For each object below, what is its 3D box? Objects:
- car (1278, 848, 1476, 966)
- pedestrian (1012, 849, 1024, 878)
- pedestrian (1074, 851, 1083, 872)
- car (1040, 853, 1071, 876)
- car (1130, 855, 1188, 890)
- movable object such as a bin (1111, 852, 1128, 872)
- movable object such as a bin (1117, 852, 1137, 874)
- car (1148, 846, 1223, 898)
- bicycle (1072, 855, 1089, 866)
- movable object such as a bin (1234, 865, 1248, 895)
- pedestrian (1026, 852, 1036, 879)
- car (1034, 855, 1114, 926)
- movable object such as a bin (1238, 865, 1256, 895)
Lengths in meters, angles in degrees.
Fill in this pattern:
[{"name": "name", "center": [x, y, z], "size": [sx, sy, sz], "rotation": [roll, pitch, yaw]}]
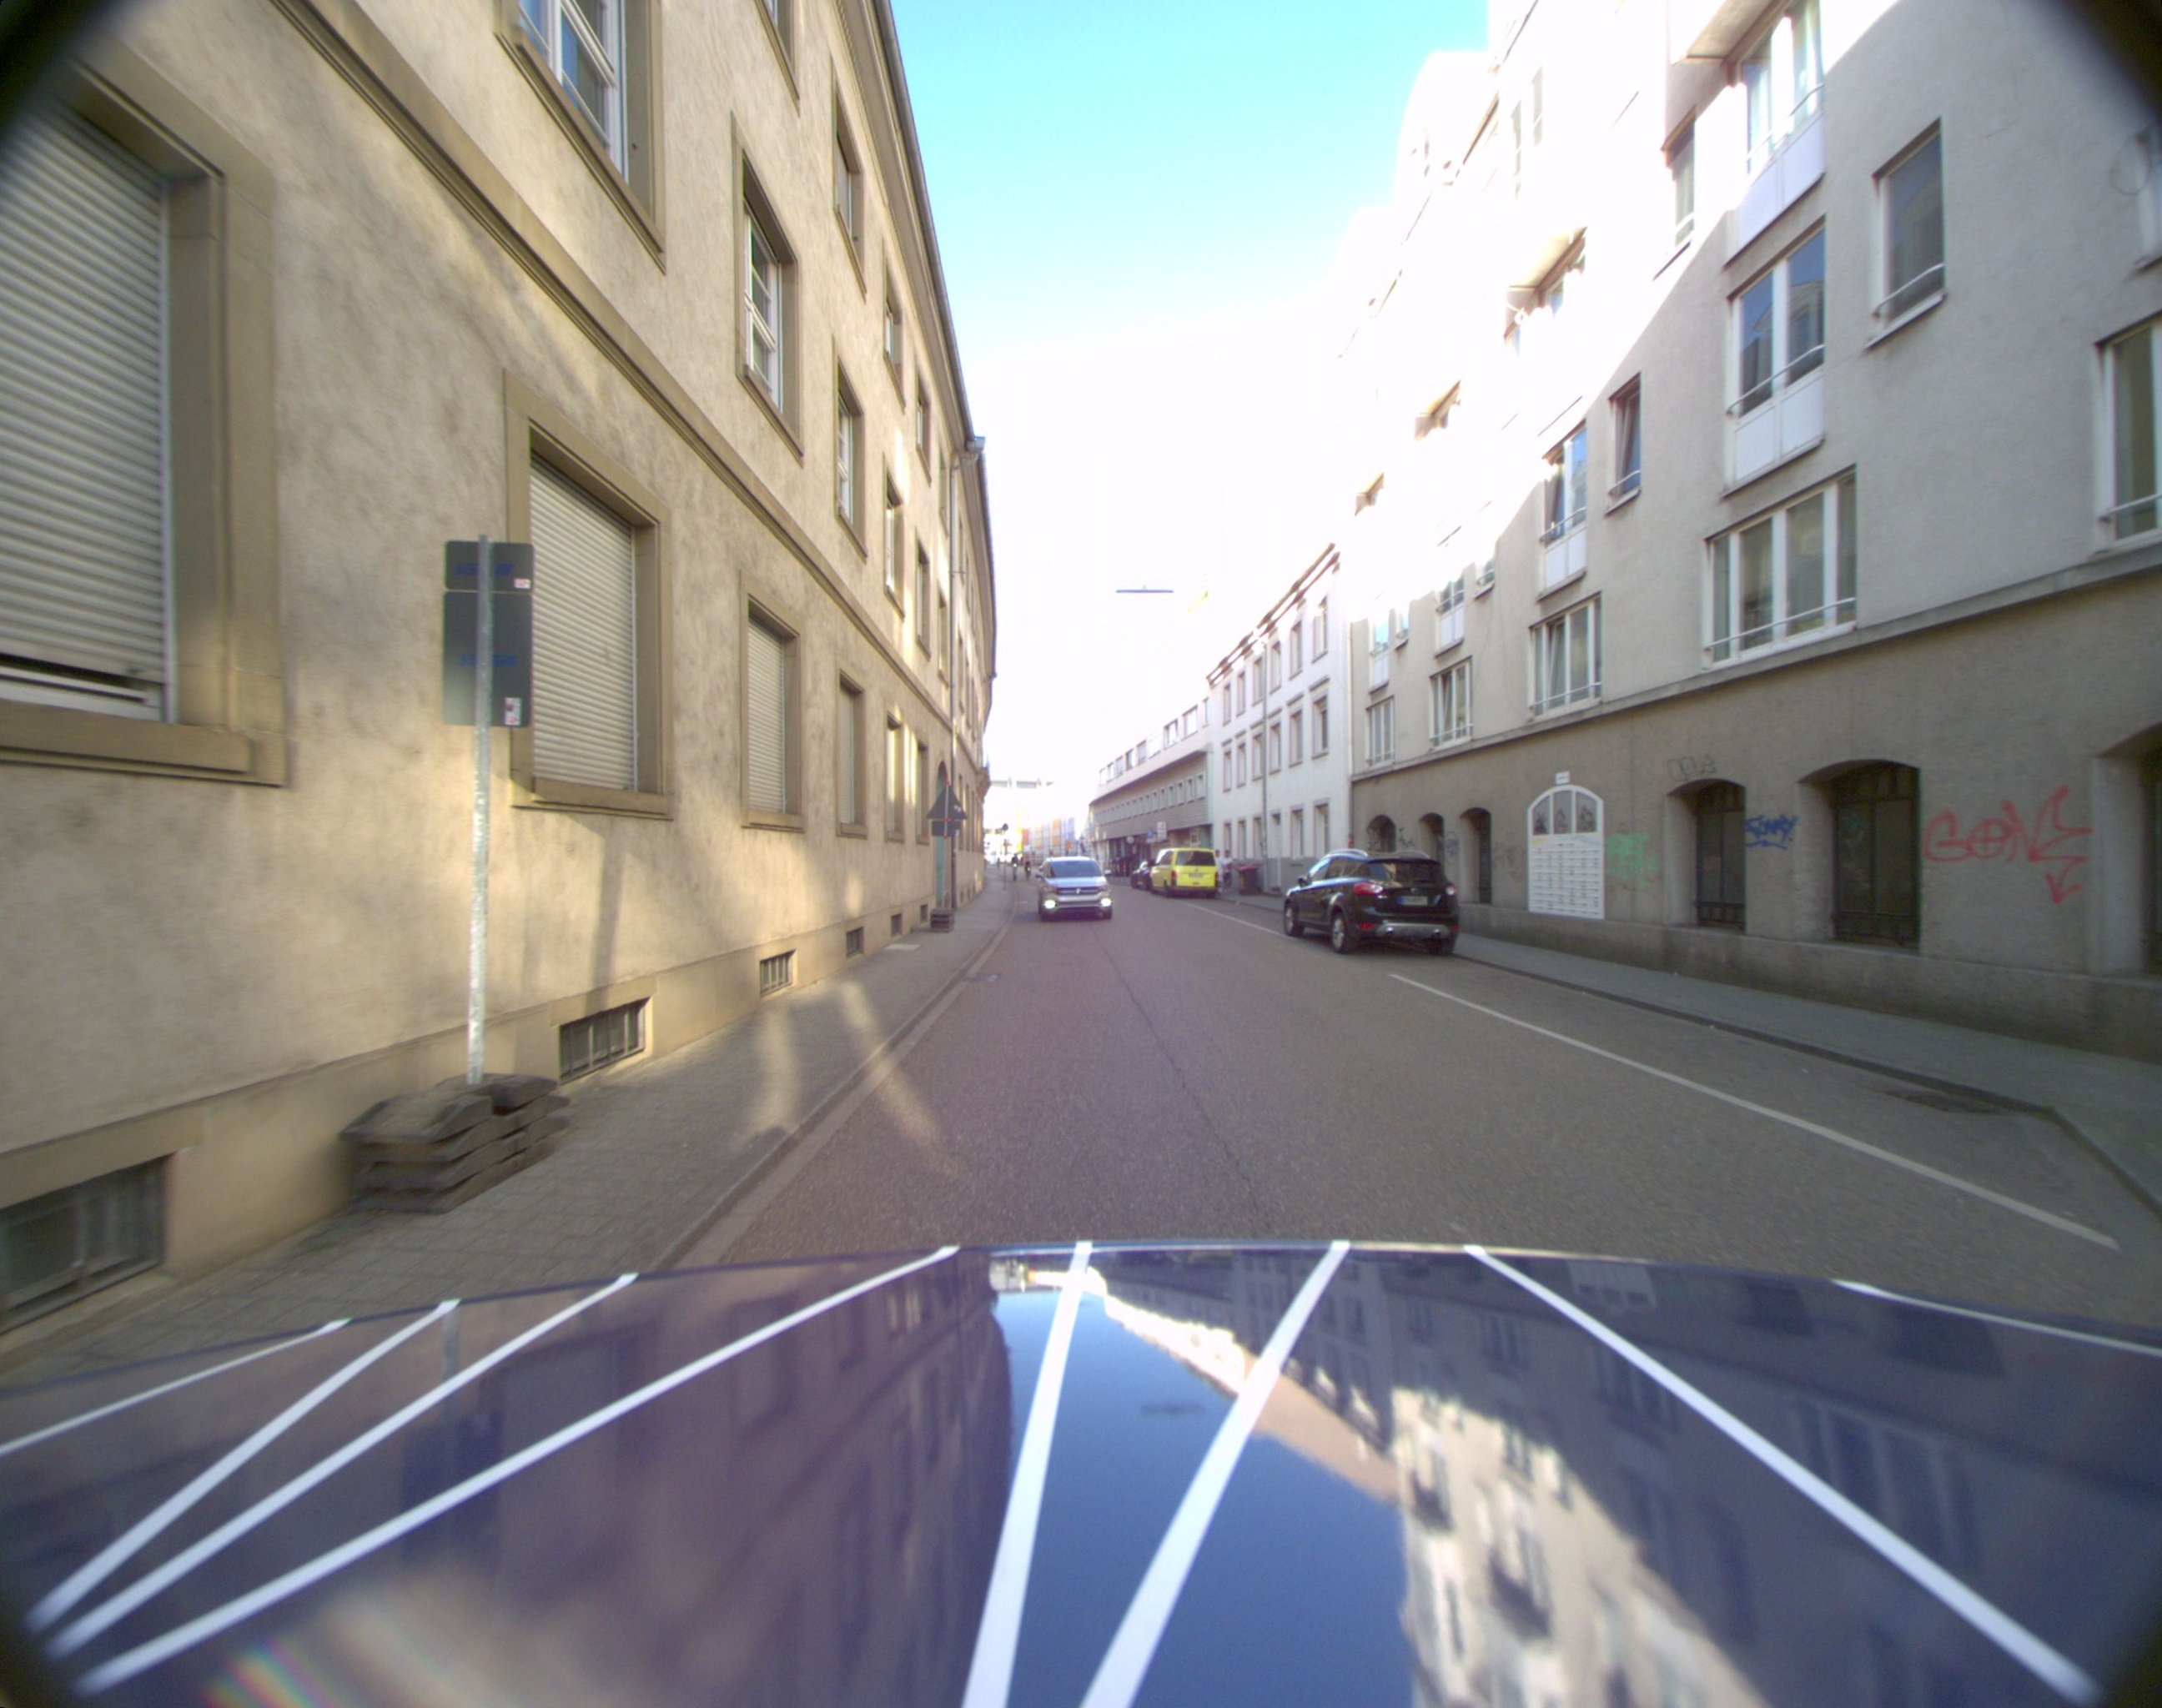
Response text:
[{"name": "car", "center": [4.943, 0.789, 13.391], "size": [1.744, 1.701, 4.190], "rotation": [2, 0, -1]}, {"name": "pedestrian", "center": [-4.231, 0.650, 51.031], "size": [0.678, 1.928, 0.857], "rotation": [-1, 1, -10]}, {"name": "pedestrian", "center": [-0.204, 0.604, 62.233], "size": [0.494, 1.660, 0.626], "rotation": [-3, 1, -21]}, {"name": "car", "center": [-1.880, 0.728, 54.756], "size": [1.720, 1.569, 4.186], "rotation": [-1, 0, -10]}, {"name": "car", "center": [3.593, 0.840, 35.599], "size": [1.825, 1.477, 4.074], "rotation": [2, 0, -7]}, {"name": "movable object such as a bin", "center": [2.861, 0.616, 56.020], "size": [0.971, 1.462, 1.473], "rotation": [-1, -1, -9]}, {"name": "movable object such as a bin", "center": [3.249, 0.636, 53.970], "size": [1.126, 1.511, 1.341], "rotation": [-1, -1, -9]}, {"name": "car", "center": [4.041, 0.668, 30.206], "size": [1.886, 1.856, 4.861], "rotation": [2, 0, -5]}, {"name": "bicycle", "center": [-0.076, 0.774, 89.983], "size": [1.822, 1.094, 0.749], "rotation": [-4, 1, -9]}, {"name": "movable object such as a bin", "center": [6.045, 0.970, 28.666], "size": [0.411, 1.098, 0.433], "rotation": [0, 1, -3]}, {"name": "pedestrian", "center": [-3.370, 0.761, 51.221], "size": [0.603, 1.770, 0.651], "rotation": [-1, 1, -10]}, {"name": "car", "center": [-0.280, 0.868, 20.130], "size": [1.683, 1.568, 4.240], "rotation": [-4, 1, -5]}, {"name": "movable object such as a bin", "center": [6.123, 0.951, 28.053], "size": [0.542, 1.098, 0.433], "rotation": [0, 1, -3]}]
